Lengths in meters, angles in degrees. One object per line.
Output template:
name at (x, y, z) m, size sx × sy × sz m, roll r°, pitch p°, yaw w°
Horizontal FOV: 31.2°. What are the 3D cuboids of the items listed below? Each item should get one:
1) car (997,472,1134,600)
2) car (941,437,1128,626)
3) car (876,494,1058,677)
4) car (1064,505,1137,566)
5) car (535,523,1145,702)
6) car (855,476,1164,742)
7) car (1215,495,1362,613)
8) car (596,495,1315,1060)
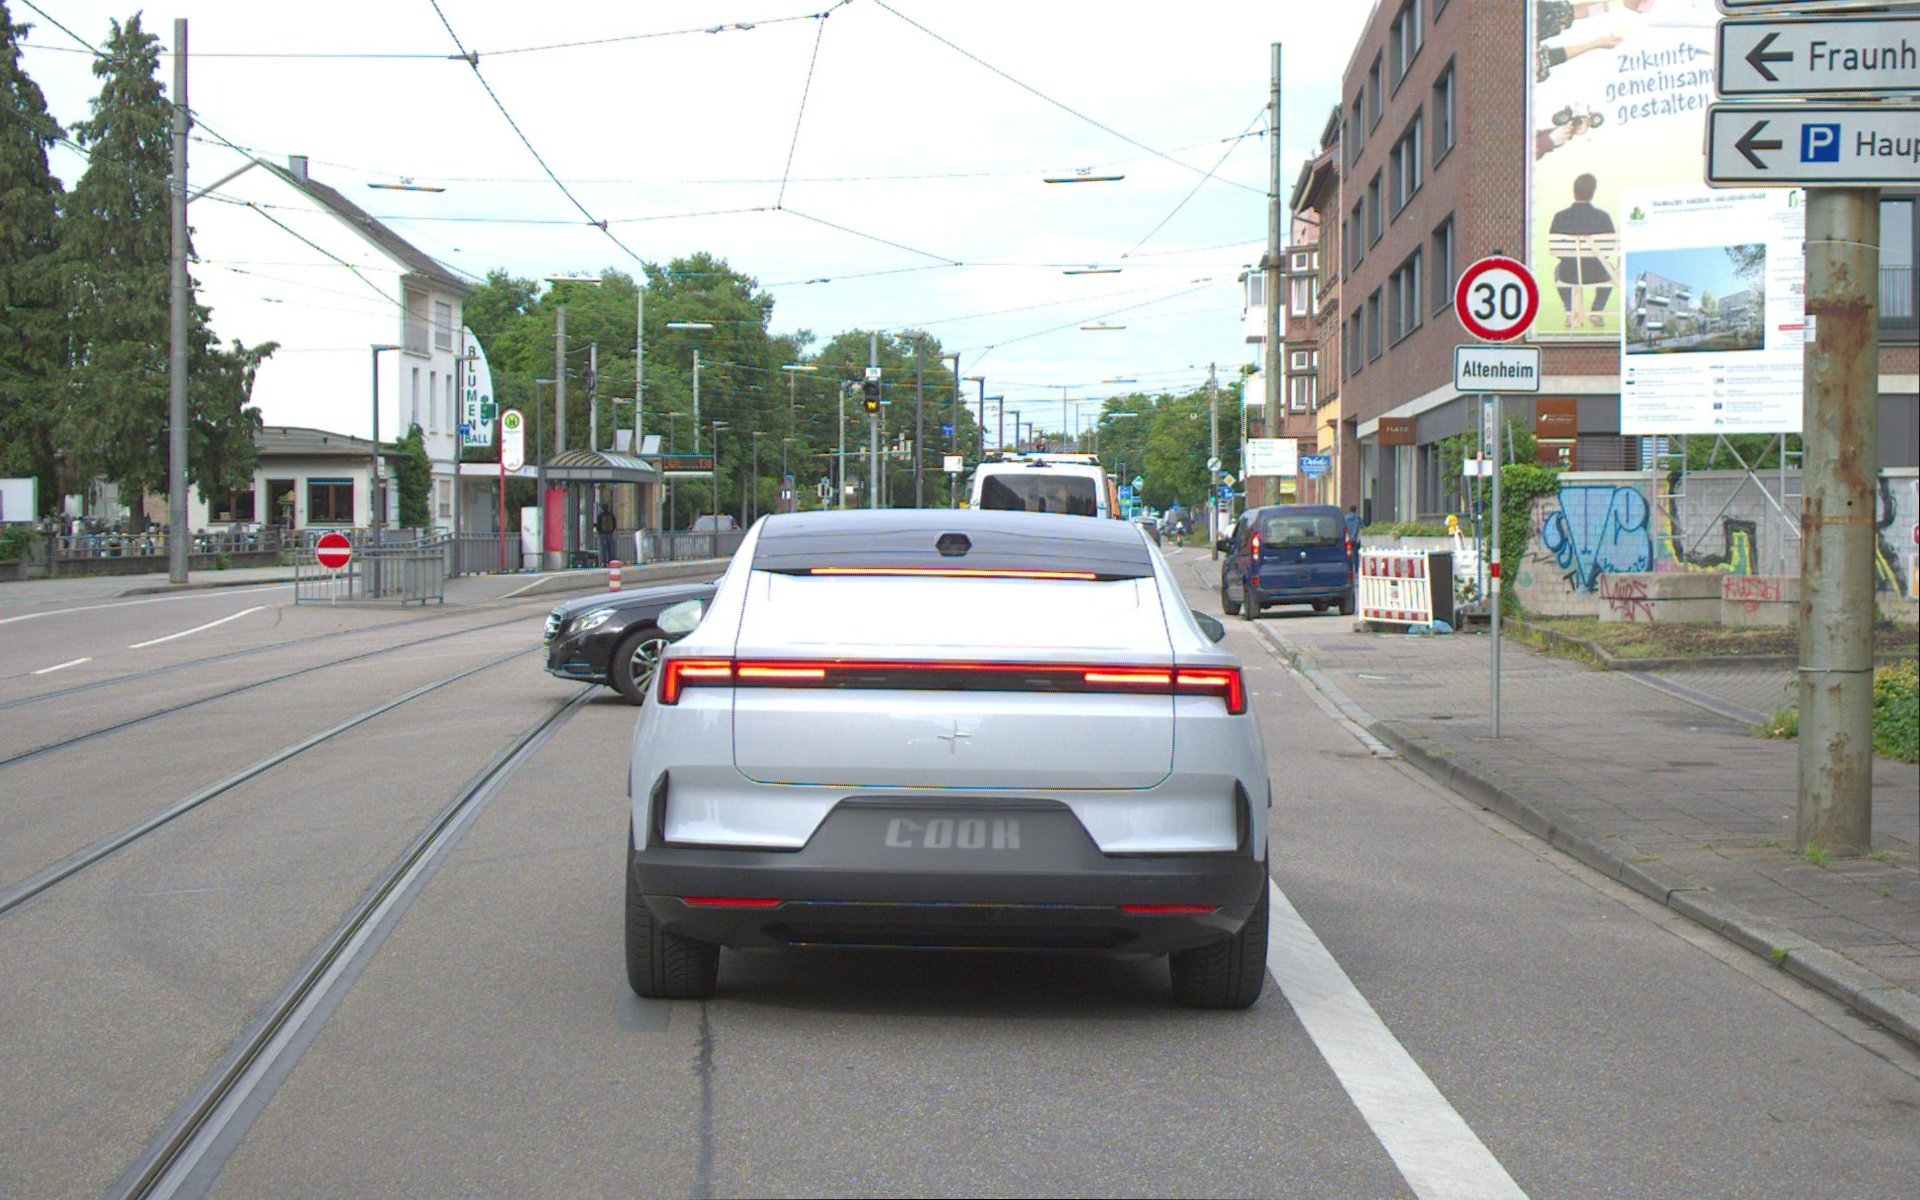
car at (1.824, -1.122, 60.940) m, size 2.139 × 2.138 × 4.744 m, roll 2°, pitch 1°, yaw -1°
car at (0.962, -0.931, 47.408) m, size 2.216 × 2.415 × 4.952 m, roll 2°, pitch 1°, yaw -2°
car at (0.049, -0.194, 40.677) m, size 1.993 × 2.007 × 4.000 m, roll 2°, pitch 1°, yaw -1°
car at (4.821, -2.207, 118.561) m, size 1.993 × 2.007 × 4.001 m, roll 1°, pitch 1°, yaw -5°
car at (-1.049, 0.071, 28.691) m, size 4.869 × 1.422 × 1.953 m, roll 0°, pitch 1°, yaw -9°
car at (0.277, 0.037, 25.194) m, size 1.968 × 1.750 × 3.838 m, roll 2°, pitch 1°, yaw -3°
car at (5.357, -0.752, 56.483) m, size 1.874 × 1.817 × 4.097 m, roll 2°, pitch 1°, yaw -1°
car at (-0.163, 0.455, 11.738) m, size 1.981 × 1.544 × 4.184 m, roll 1°, pitch 1°, yaw -4°
